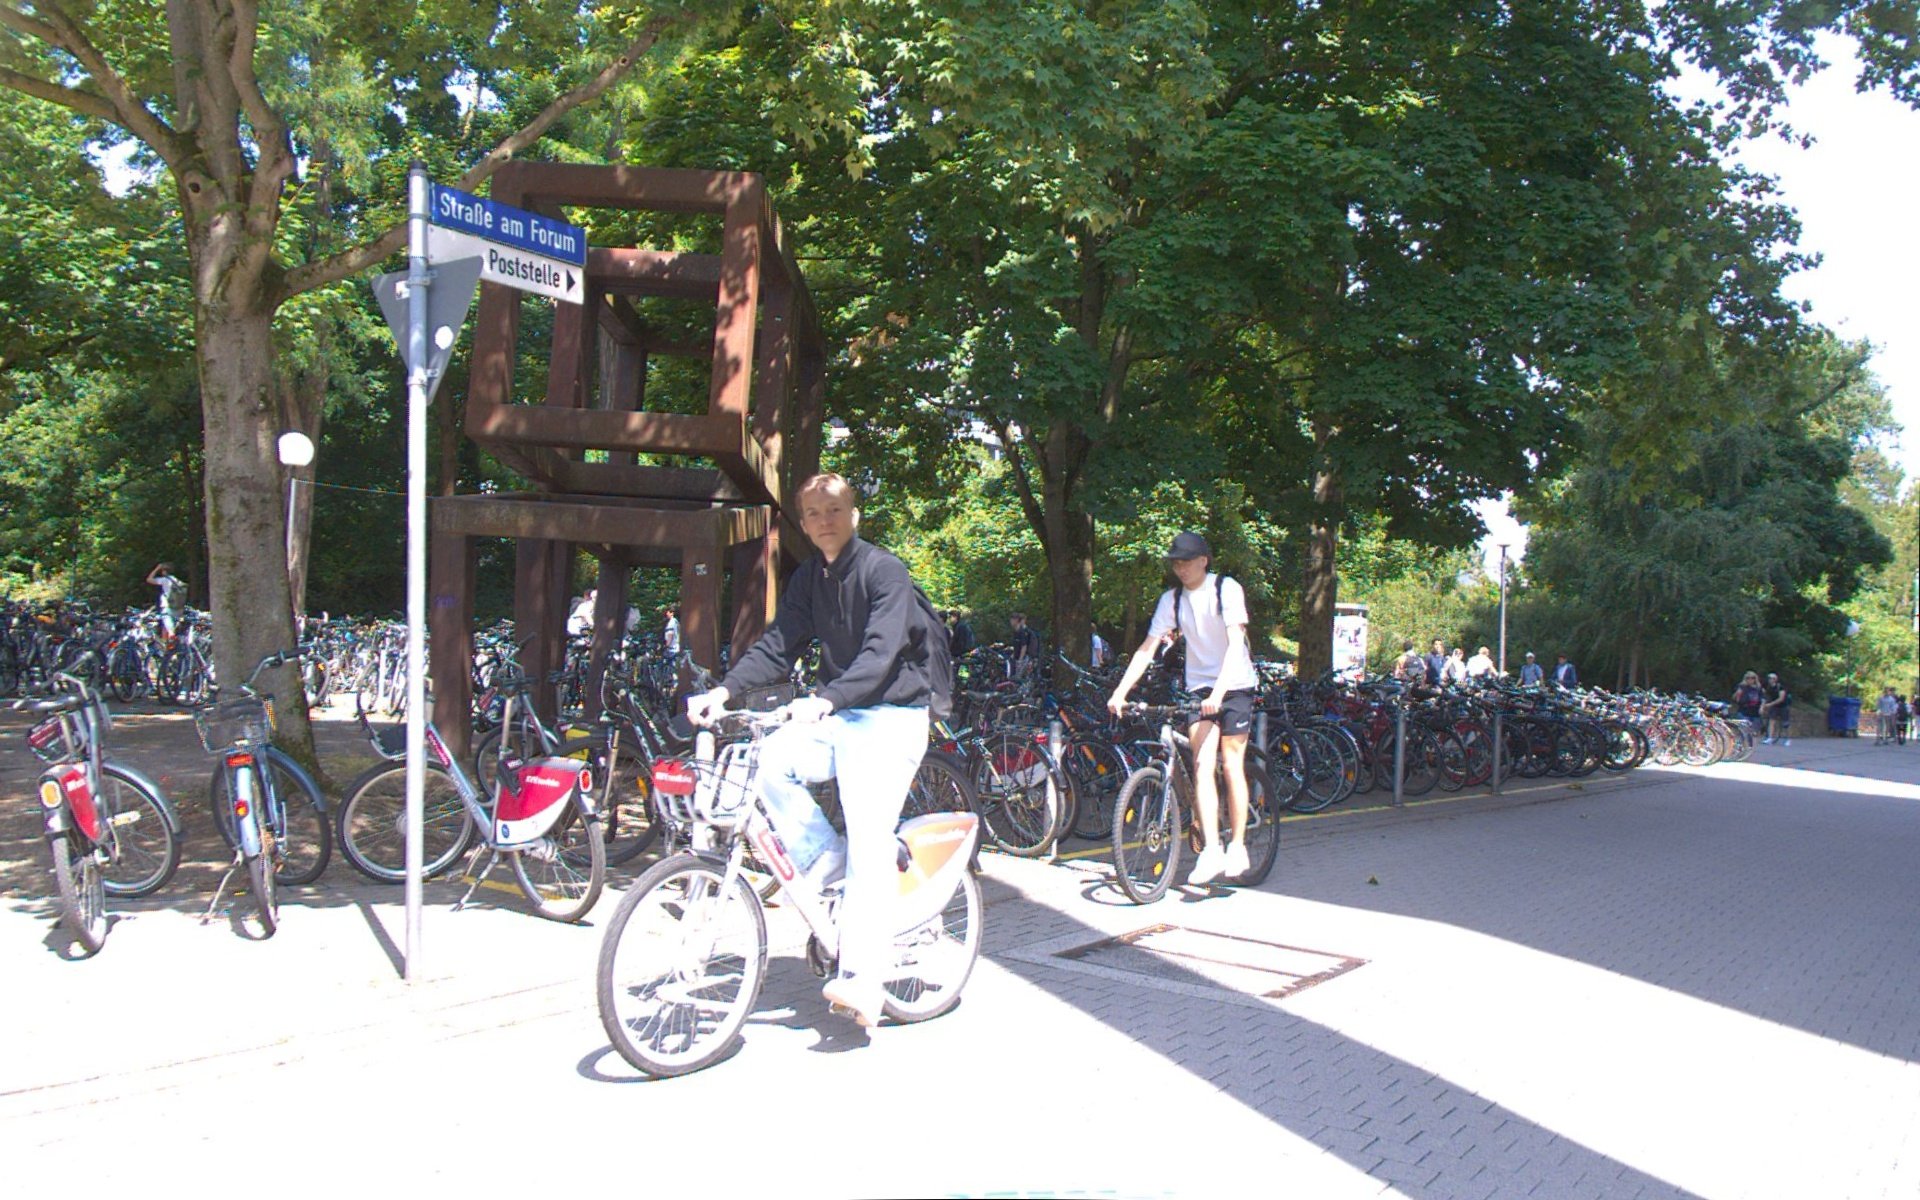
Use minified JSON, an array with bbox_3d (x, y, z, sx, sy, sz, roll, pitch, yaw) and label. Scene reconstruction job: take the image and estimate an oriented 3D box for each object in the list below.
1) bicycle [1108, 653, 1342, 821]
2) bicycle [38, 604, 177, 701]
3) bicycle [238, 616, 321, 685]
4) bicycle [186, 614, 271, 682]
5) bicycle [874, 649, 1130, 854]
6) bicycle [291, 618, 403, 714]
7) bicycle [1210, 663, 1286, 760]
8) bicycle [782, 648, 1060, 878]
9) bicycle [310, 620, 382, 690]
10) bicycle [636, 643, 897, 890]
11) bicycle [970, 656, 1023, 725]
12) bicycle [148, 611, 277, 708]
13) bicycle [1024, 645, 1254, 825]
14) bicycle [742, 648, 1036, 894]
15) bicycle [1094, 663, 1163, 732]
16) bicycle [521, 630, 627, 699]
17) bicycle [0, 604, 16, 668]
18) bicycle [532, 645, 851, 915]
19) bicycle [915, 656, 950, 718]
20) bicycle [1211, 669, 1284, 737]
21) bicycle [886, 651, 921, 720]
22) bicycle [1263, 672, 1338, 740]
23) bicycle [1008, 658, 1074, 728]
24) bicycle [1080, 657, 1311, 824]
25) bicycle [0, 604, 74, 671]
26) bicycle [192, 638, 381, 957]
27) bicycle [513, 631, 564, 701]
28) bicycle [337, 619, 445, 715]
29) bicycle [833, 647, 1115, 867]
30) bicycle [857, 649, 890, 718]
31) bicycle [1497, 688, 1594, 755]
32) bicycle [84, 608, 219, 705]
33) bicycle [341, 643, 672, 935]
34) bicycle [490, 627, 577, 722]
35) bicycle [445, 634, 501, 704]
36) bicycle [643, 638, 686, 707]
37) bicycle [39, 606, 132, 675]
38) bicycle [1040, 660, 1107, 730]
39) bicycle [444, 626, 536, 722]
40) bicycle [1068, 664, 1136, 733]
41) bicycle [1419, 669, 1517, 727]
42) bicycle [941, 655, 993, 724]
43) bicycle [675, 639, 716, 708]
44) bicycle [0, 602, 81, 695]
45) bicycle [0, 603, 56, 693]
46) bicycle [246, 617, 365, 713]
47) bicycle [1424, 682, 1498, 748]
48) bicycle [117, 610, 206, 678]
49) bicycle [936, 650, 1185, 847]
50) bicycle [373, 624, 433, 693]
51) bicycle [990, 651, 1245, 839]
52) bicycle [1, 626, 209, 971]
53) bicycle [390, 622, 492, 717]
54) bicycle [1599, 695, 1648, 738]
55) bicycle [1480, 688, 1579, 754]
[{"bbox_3d":[2.131,1.078,13.367,1.746,1.182,0.496,3,-2,30],"label":"bicycle"},{"bbox_3d":[-10.713,0.664,20.870,0.491,1.127,2.006,4,-2,5],"label":"bicycle"},{"bbox_3d":[-11.449,0.860,27.874,0.462,1.102,1.700,4,-2,6],"label":"bicycle"},{"bbox_3d":[-12.416,0.824,28.121,0.462,1.102,1.700,4,-2,6],"label":"bicycle"},{"bbox_3d":[0.241,0.925,10.490,1.600,1.127,0.503,2,-2,40],"label":"bicycle"},{"bbox_3d":[-7.779,0.840,21.079,0.491,1.127,1.907,4,-2,5],"label":"bicycle"},{"bbox_3d":[3.952,1.510,22.803,0.563,1.220,1.698,4,-2,-4],"label":"bicycle"},{"bbox_3d":[-0.250,0.891,9.454,1.600,1.127,0.494,2,-2,40],"label":"bicycle"},{"bbox_3d":[-10.315,0.924,27.848,0.463,1.102,1.699,4,-2,1],"label":"bicycle"},{"bbox_3d":[-1.057,0.827,8.749,0.493,1.127,1.604,2,-1,-43],"label":"bicycle"},{"bbox_3d":[0.624,1.554,28.635,0.464,1.102,1.694,4,-2,-12],"label":"bicycle"},{"bbox_3d":[-9.391,0.750,20.864,0.491,1.127,2.006,4,-2,5],"label":"bicycle"},{"bbox_3d":[1.309,0.972,12.241,1.597,1.171,0.495,3,-2,36],"label":"bicycle"},{"bbox_3d":[-0.407,0.876,8.868,1.600,1.127,0.494,2,-2,40],"label":"bicycle"},{"bbox_3d":[2.935,1.692,28.968,0.465,1.102,1.690,5,-2,-20],"label":"bicycle"},{"bbox_3d":[-6.870,1.148,29.488,1.658,1.102,0.604,4,-2,8],"label":"bicycle"},{"bbox_3d":[-17.020,0.595,28.352,0.462,1.102,1.700,4,-2,6],"label":"bicycle"},{"bbox_3d":[-1.319,0.817,7.985,1.597,1.127,0.495,2,-1,35],"label":"bicycle"},{"bbox_3d":[-0.475,1.469,28.128,0.442,0.979,1.738,4,-2,-4],"label":"bicycle"},{"bbox_3d":[5.117,1.829,29.538,0.465,1.102,1.690,5,-2,-20],"label":"bicycle"},{"bbox_3d":[-0.966,1.428,28.068,0.463,1.102,1.698,4,-2,-4],"label":"bicycle"},{"bbox_3d":[6.092,1.890,29.682,0.465,1.102,1.690,5,-2,-20],"label":"bicycle"},{"bbox_3d":[1.389,1.600,28.692,0.465,1.102,1.690,5,-2,-20],"label":"bicycle"},{"bbox_3d":[1.815,1.062,12.815,1.594,1.127,0.644,3,-2,30],"label":"bicycle"},{"bbox_3d":[-15.925,0.648,28.241,0.462,1.102,1.700,4,-2,6],"label":"bicycle"},{"bbox_3d":[-2.908,0.760,7.053,0.581,1.127,1.731,2,0,-27],"label":"bicycle"},{"bbox_3d":[-7.100,1.102,27.908,0.463,1.102,1.698,4,-2,-4],"label":"bicycle"},{"bbox_3d":[-7.163,0.841,20.924,0.491,1.127,1.907,4,-2,5],"label":"bicycle"},{"bbox_3d":[0.064,0.905,9.920,1.599,1.127,0.626,2,-2,40],"label":"bicycle"},{"bbox_3d":[-1.492,1.408,28.289,0.463,1.102,1.698,4,-2,-4],"label":"bicycle"},{"bbox_3d":[11.096,2.297,31.397,0.470,1.129,1.673,6,-3,-42],"label":"bicycle"},{"bbox_3d":[-10.135,0.709,20.814,0.491,1.127,2.006,4,-2,5],"label":"bicycle"},{"bbox_3d":[-2.059,0.789,7.416,1.597,1.127,0.495,2,-1,35],"label":"bicycle"},{"bbox_3d":[-5.423,0.940,21.131,0.491,1.127,1.907,4,-2,2],"label":"bicycle"},{"bbox_3d":[-8.175,1.147,27.825,0.463,1.102,1.698,4,-2,-4],"label":"bicycle"},{"bbox_3d":[-4.959,1.206,27.825,0.463,1.102,1.698,4,-2,-4],"label":"bicycle"},{"bbox_3d":[-14.983,0.706,28.373,0.462,1.102,1.700,4,-2,6],"label":"bicycle"},{"bbox_3d":[1.970,1.638,28.801,0.465,1.102,1.690,5,-2,-20],"label":"bicycle"},{"bbox_3d":[-5.955,0.933,21.067,0.491,1.127,1.907,4,-2,2],"label":"bicycle"},{"bbox_3d":[2.462,1.702,28.829,0.465,1.102,1.690,5,-2,-20],"label":"bicycle"},{"bbox_3d":[10.597,2.032,34.504,1.864,1.065,0.541,3,-2,24],"label":"bicycle"},{"bbox_3d":[0.110,1.524,28.585,0.464,1.102,1.694,4,-2,-12],"label":"bicycle"},{"bbox_3d":[-4.455,1.234,27.958,0.463,1.102,1.698,4,-2,-4],"label":"bicycle"},{"bbox_3d":[-12.016,0.605,20.975,0.491,1.127,2.030,4,-2,2],"label":"bicycle"},{"bbox_3d":[-12.348,0.599,20.989,0.491,1.127,2.030,4,-2,2],"label":"bicycle"},{"bbox_3d":[-8.309,0.826,21.076,0.491,1.127,2.006,4,-2,5],"label":"bicycle"},{"bbox_3d":[9.235,2.106,30.564,0.464,1.102,1.693,4,-2,-13],"label":"bicycle"},{"bbox_3d":[-13.622,0.766,28.263,0.462,1.102,1.700,4,-2,6],"label":"bicycle"},{"bbox_3d":[0.639,0.945,10.876,1.600,1.127,0.494,2,-2,40],"label":"bicycle"},{"bbox_3d":[-9.360,0.974,27.838,0.463,1.102,1.698,4,-2,-4],"label":"bicycle"},{"bbox_3d":[1.073,0.975,11.449,1.600,1.127,0.687,2,-2,40],"label":"bicycle"},{"bbox_3d":[-3.443,0.722,6.718,0.629,1.180,1.616,2,0,-26],"label":"bicycle"},{"bbox_3d":[-6.614,0.885,21.171,0.491,1.127,1.907,4,-2,5],"label":"bicycle"},{"bbox_3d":[18.001,3.157,44.910,0.463,1.065,1.697,4,-2,-6],"label":"bicycle"},{"bbox_3d":[10.693,2.265,31.099,0.470,1.102,1.698,6,-2,-41],"label":"bicycle"}]
